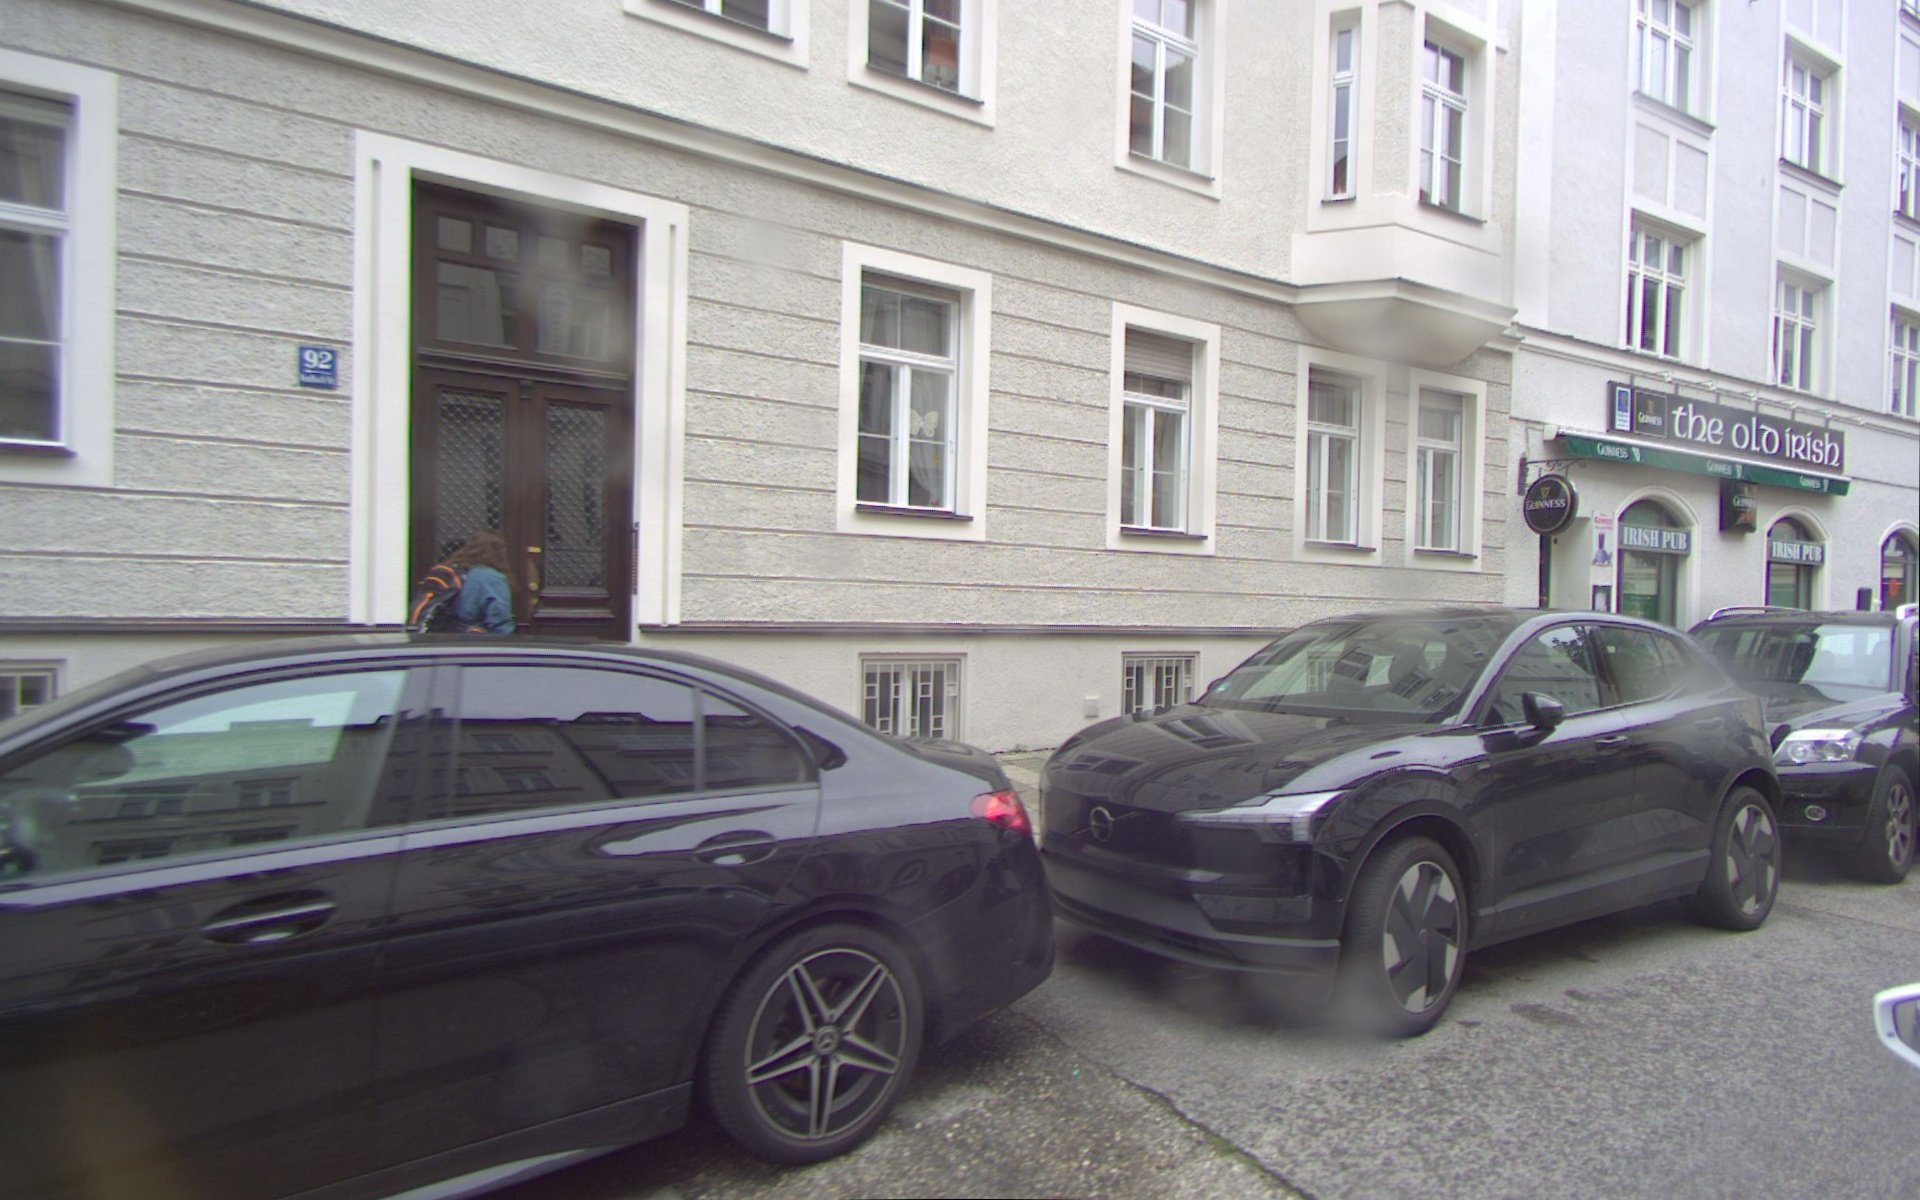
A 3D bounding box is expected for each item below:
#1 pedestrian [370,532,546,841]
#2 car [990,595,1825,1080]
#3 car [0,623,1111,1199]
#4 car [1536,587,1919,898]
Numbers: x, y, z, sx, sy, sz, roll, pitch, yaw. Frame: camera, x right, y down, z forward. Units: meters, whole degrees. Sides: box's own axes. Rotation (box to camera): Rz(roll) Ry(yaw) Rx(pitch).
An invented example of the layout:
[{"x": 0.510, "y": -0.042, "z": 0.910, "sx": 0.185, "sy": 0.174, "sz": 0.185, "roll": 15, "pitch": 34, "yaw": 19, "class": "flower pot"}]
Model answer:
[{"x": -3.028, "y": 0.478, "z": 6.080, "sx": 0.687, "sy": 1.730, "sz": 0.664, "roll": 2, "pitch": 1, "yaw": 29, "class": "pedestrian"}, {"x": 2.347, "y": 0.781, "z": 4.953, "sx": 4.133, "sy": 1.506, "sz": 1.733, "roll": 1, "pitch": -1, "yaw": -31, "class": "car"}, {"x": -1.810, "y": 0.773, "z": 2.804, "sx": 4.398, "sy": 1.403, "sz": 1.799, "roll": 1, "pitch": -1, "yaw": -35, "class": "car"}, {"x": 6.262, "y": 0.845, "z": 7.365, "sx": 4.228, "sy": 1.695, "sz": 1.737, "roll": 1, "pitch": -3, "yaw": -32, "class": "car"}]
